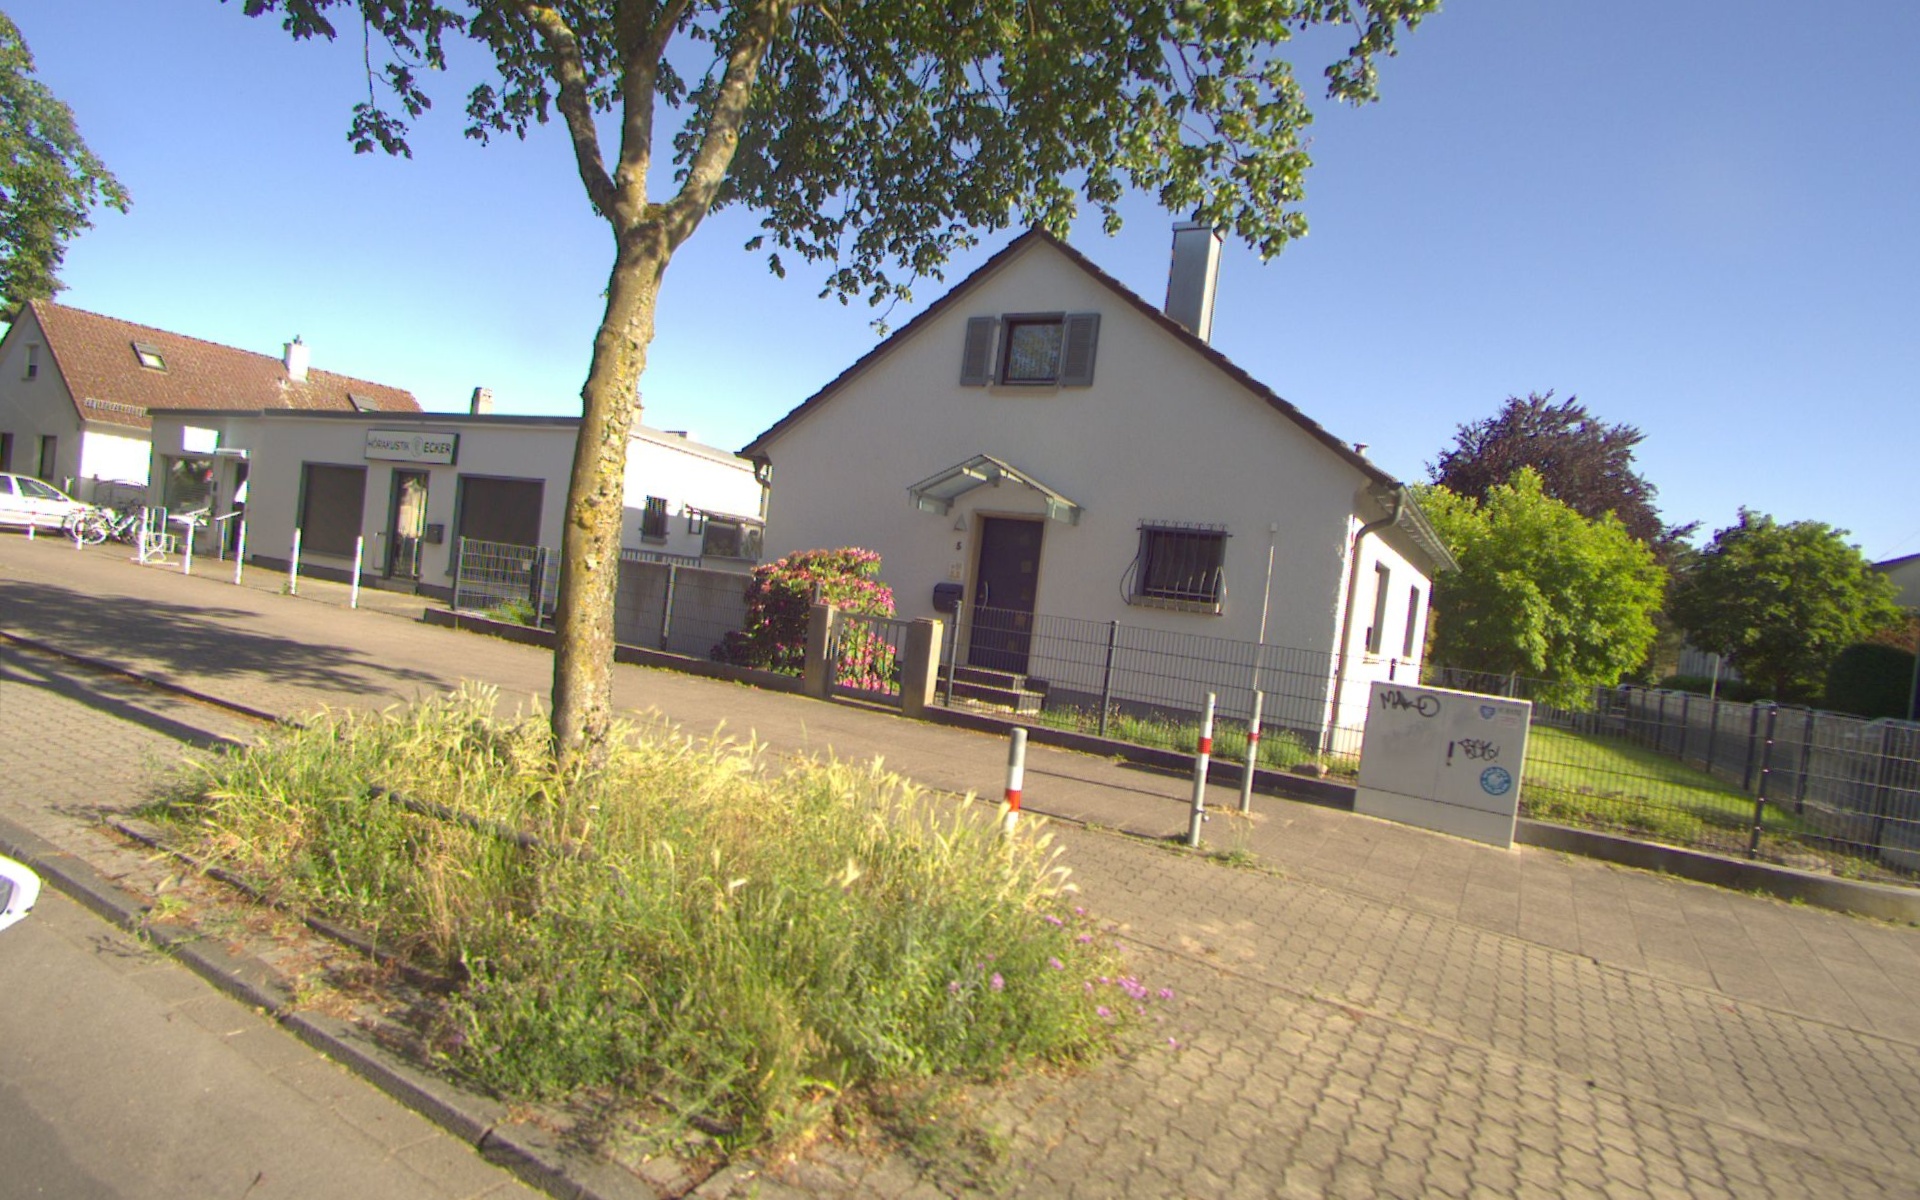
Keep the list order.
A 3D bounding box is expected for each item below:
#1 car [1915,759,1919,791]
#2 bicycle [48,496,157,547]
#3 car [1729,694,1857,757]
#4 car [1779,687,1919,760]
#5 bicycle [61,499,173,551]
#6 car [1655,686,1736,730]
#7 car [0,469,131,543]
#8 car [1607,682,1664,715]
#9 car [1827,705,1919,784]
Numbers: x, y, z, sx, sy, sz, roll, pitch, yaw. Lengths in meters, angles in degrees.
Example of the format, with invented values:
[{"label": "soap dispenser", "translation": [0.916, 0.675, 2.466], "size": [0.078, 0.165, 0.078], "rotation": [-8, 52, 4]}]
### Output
[{"label": "car", "translation": [21.490, 3.374, 19.928], "size": [2.245, 1.707, 4.753], "rotation": [9, 0, 27]}, {"label": "bicycle", "translation": [-21.063, -1.909, 24.762], "size": [0.566, 1.012, 1.925], "rotation": [9, 3, 29]}, {"label": "car", "translation": [29.192, 4.338, 35.468], "size": [2.245, 1.667, 4.753], "rotation": [9, 0, 27]}, {"label": "car", "translation": [27.232, 3.705, 30.713], "size": [2.245, 1.707, 4.753], "rotation": [9, 0, 27]}, {"label": "bicycle", "translation": [-20.261, -1.788, 24.222], "size": [0.566, 1.012, 1.960], "rotation": [9, 3, 29]}, {"label": "car", "translation": [36.088, 5.269, 49.504], "size": [2.245, 1.667, 4.753], "rotation": [9, 0, 27]}, {"label": "car", "translation": [-23.367, -2.424, 24.846], "size": [1.869, 1.508, 3.990], "rotation": [9, 3, 29]}, {"label": "car", "translation": [43.397, 6.340, 64.750], "size": [2.245, 1.667, 4.753], "rotation": [9, 0, 27]}, {"label": "car", "translation": [24.007, 3.702, 25.139], "size": [2.245, 1.707, 4.753], "rotation": [9, 0, 27]}]
